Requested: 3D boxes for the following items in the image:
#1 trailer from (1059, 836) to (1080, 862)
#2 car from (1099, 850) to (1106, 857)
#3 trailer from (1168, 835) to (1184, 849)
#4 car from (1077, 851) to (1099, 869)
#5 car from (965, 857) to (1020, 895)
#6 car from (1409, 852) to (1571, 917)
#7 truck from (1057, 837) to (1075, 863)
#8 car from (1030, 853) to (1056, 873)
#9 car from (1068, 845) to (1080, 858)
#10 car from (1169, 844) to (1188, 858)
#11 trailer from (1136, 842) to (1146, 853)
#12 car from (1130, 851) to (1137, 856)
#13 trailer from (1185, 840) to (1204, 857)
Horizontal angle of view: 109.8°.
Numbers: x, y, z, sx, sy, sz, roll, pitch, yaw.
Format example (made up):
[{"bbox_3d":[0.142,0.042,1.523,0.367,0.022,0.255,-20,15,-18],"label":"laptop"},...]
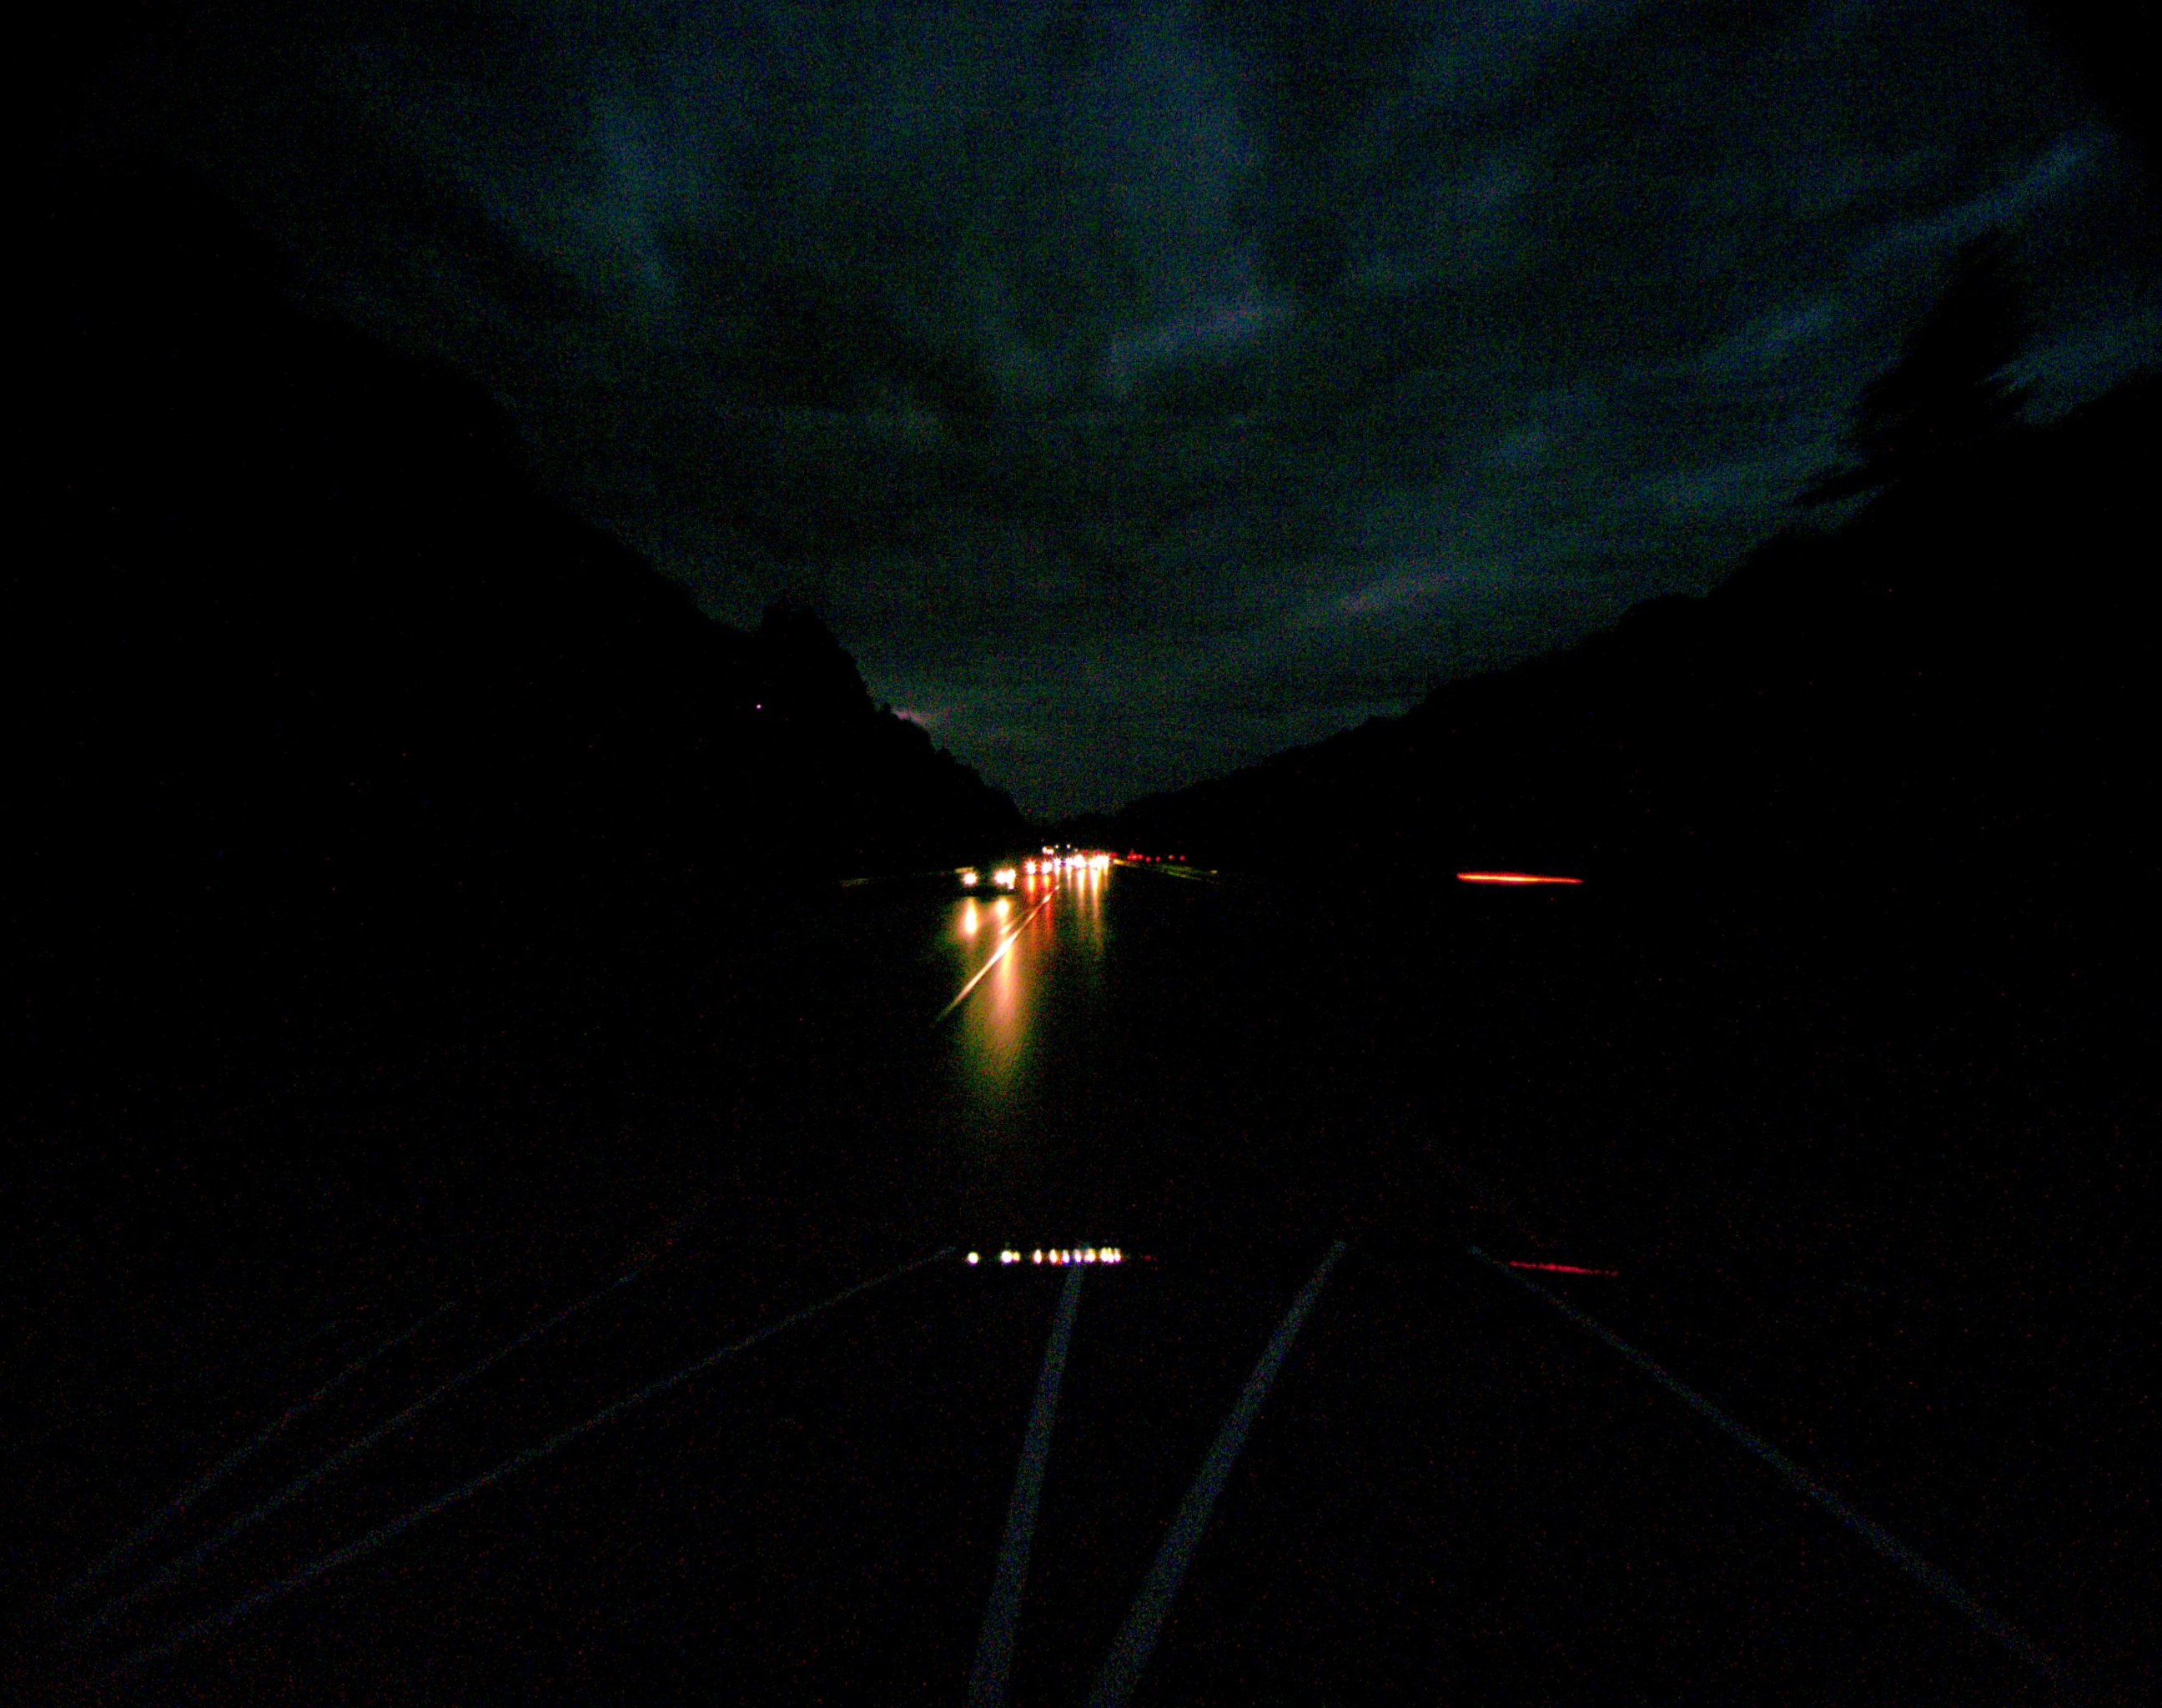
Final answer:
[{"bbox_3d":[-1.986,-0.973,133.018,2.488,4.050,13.504,-2,2,4],"label":"trailer"},{"bbox_3d":[5.187,-0.079,183.396,1.695,1.481,4.948,-1,1,1],"label":"car"},{"bbox_3d":[28.883,-3.722,232.020,3.199,4.081,13.738,-2,1,1],"label":"trailer"},{"bbox_3d":[0.781,0.628,80.960,1.869,1.701,4.584,-2,1,5],"label":"car"},{"bbox_3d":[-3.803,0.904,33.356,1.870,1.427,4.583,-3,1,0],"label":"car"},{"bbox_3d":[11.423,0.764,21.737,1.921,1.603,5.159,0,0,1],"label":"car"},{"bbox_3d":[-2.450,-0.717,125.806,2.497,3.946,5.590,-2,2,4],"label":"truck"},{"bbox_3d":[-3.300,0.830,66.601,1.695,1.480,4.952,-3,-3,2],"label":"car"},{"bbox_3d":[-2.021,-0.768,213.438,2.998,3.660,9.999,-1,1,1],"label":"car"},{"bbox_3d":[17.180,-0.499,134.377,2.319,2.469,7.518,-1,0,0],"label":"car"},{"bbox_3d":[21.248,-2.266,269.472,2.653,3.908,10.185,-1,0,1],"label":"trailer"},{"bbox_3d":[16.954,-0.191,245.193,1.885,1.565,4.654,-1,0,0],"label":"car"},{"bbox_3d":[28.489,-1.475,191.389,3.198,4.081,14.182,-2,1,2],"label":"trailer"}]
